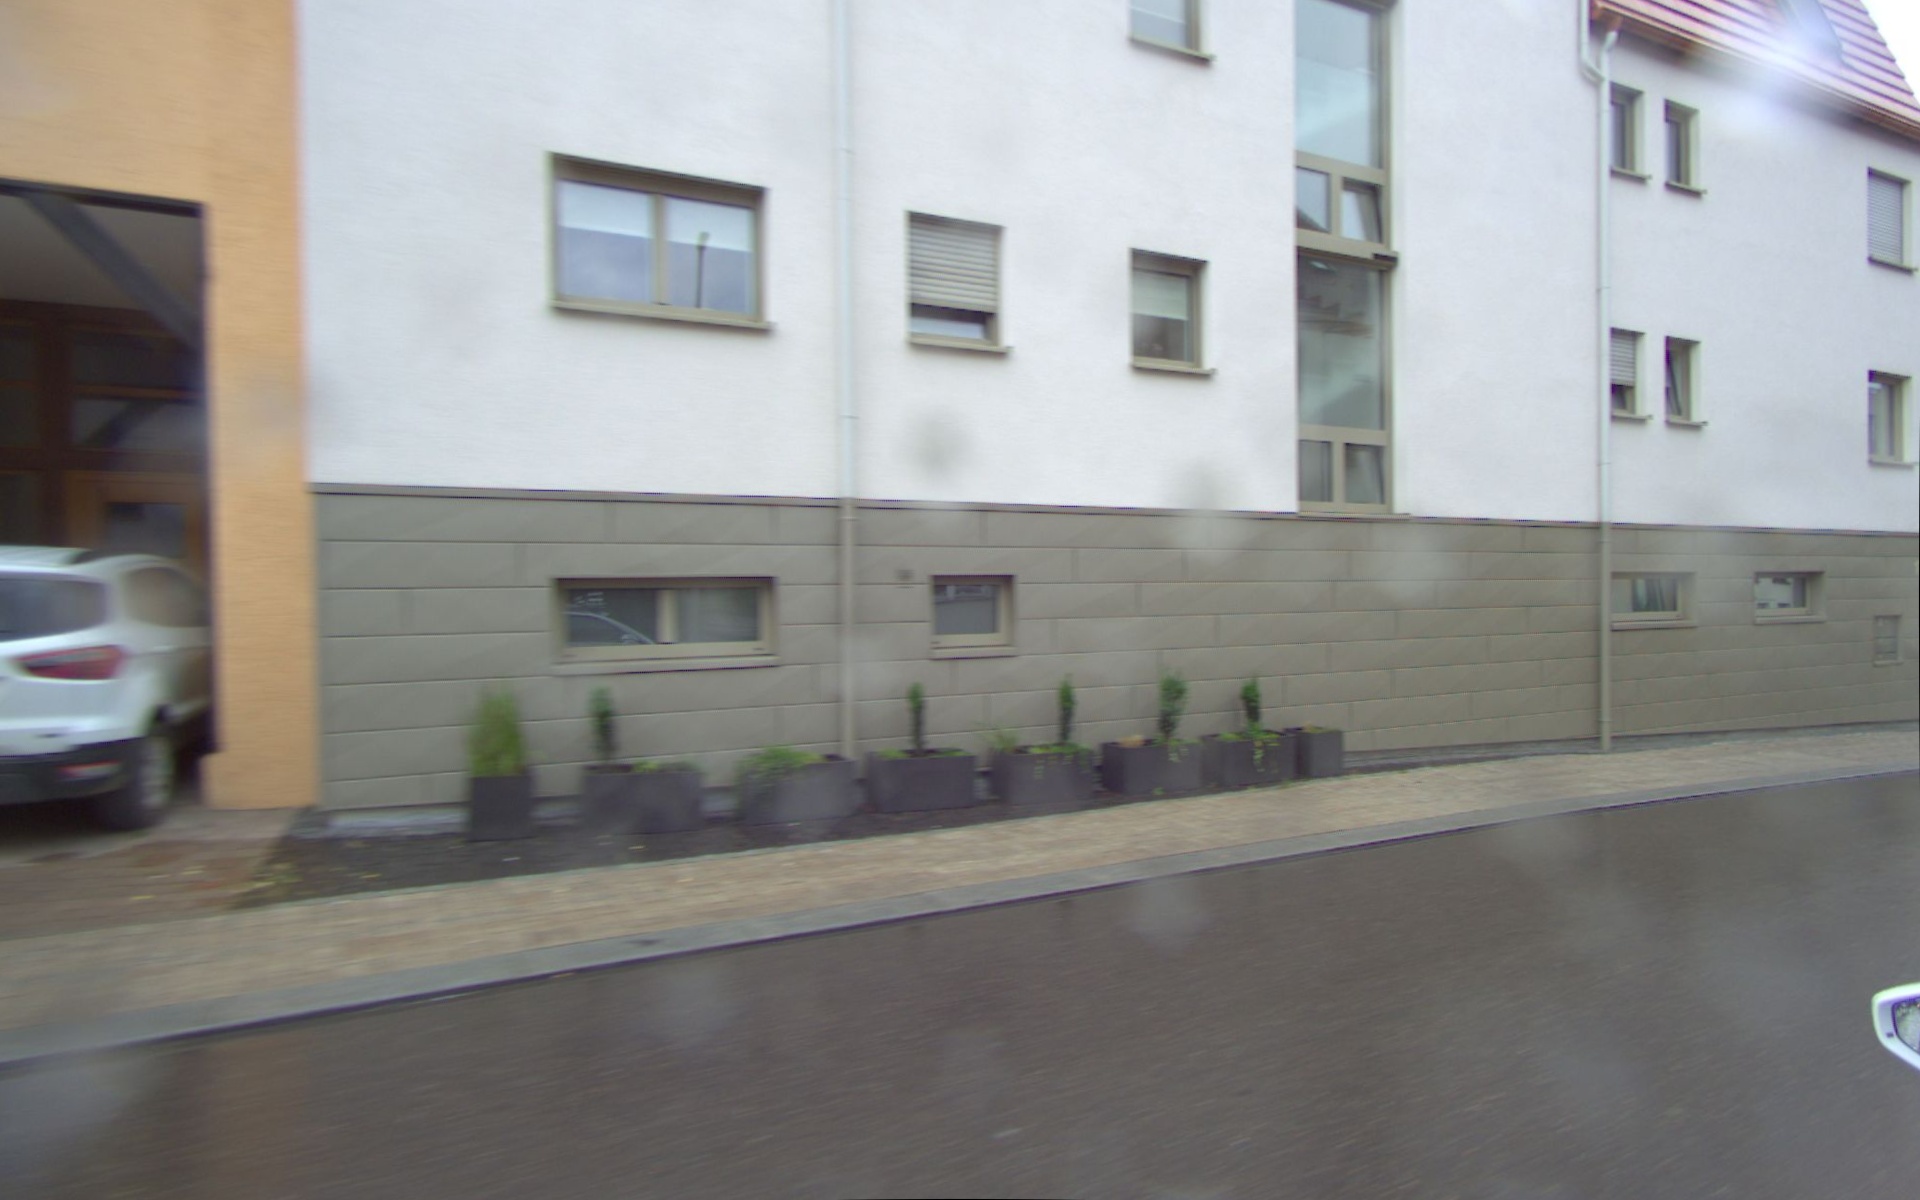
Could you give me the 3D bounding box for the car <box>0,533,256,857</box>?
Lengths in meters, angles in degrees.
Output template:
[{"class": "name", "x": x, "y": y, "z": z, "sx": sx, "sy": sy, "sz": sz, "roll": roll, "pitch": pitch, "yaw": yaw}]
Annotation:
[{"class": "car", "x": -6.242, "y": 0.413, "z": 6.914, "sx": 1.856, "sy": 1.693, "sz": 3.968, "roll": 1, "pitch": 2, "yaw": -29}]
